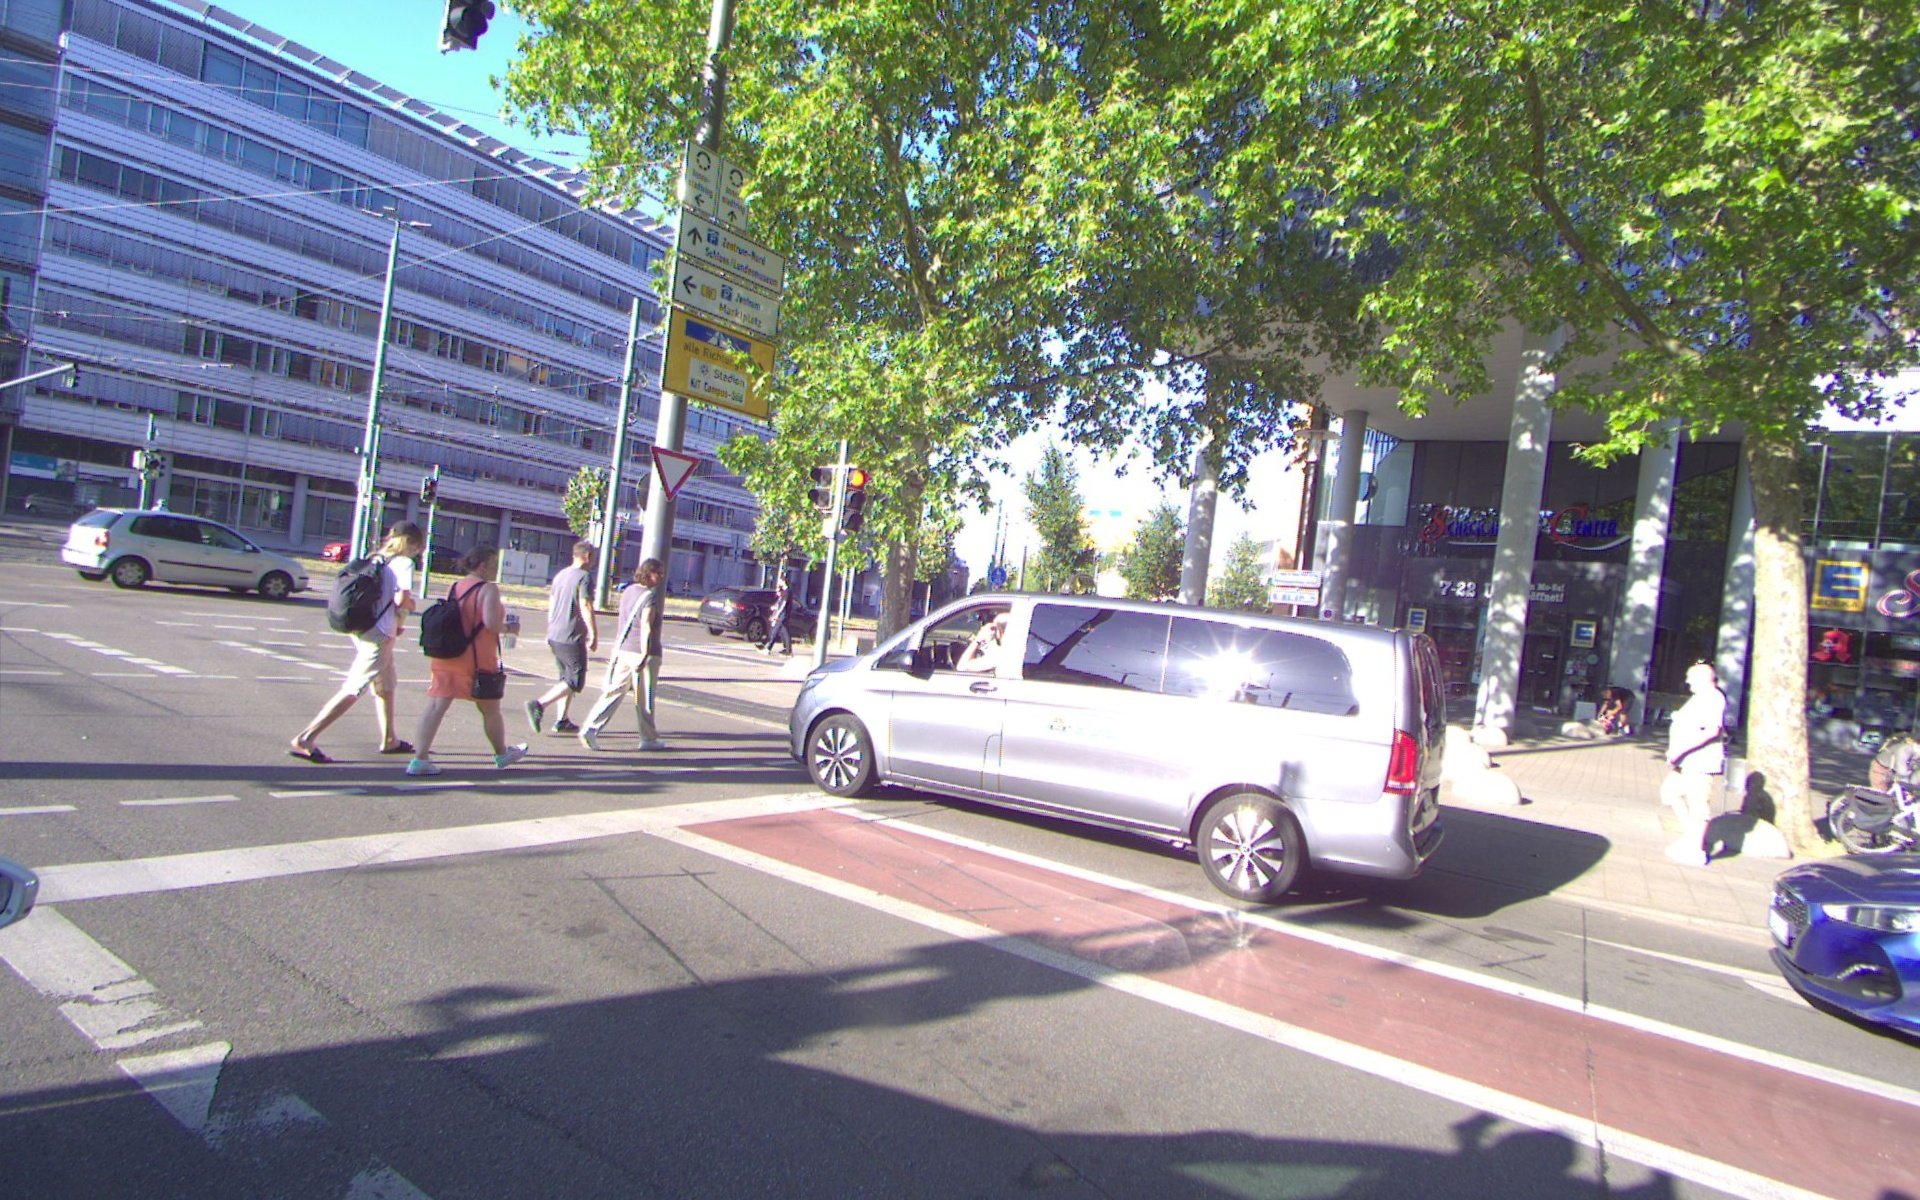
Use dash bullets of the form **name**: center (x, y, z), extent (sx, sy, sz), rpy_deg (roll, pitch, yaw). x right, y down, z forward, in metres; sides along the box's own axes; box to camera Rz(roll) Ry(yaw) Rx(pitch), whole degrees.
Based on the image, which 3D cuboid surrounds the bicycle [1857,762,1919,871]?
- **bicycle**: center (10.475, 2.354, 10.466), extent (1.545, 1.038, 0.461), rpy_deg (7, 1, 29)

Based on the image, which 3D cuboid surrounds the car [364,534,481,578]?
- **car**: center (-24.254, -1.950, 45.504), extent (1.768, 1.409, 4.241), rpy_deg (7, 0, 36)

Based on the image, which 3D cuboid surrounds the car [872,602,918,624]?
- **car**: center (-5.469, 1.142, 85.596), extent (1.731, 1.415, 3.990), rpy_deg (7, 0, 33)

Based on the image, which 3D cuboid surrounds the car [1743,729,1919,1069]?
- **car**: center (6.473, 1.718, 4.682), extent (4.147, 1.482, 1.767), rpy_deg (7, 0, 32)

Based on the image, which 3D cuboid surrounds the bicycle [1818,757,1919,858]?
- **bicycle**: center (11.530, 2.581, 12.417), extent (0.393, 1.038, 1.305), rpy_deg (6, 1, -42)

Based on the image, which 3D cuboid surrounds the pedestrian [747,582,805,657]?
- **pedestrian**: center (-4.495, 0.481, 24.611), extent (0.855, 1.701, 0.845), rpy_deg (7, -1, 39)

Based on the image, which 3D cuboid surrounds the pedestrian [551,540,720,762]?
- **pedestrian**: center (-2.924, 0.456, 9.147), extent (0.744, 1.828, 1.074), rpy_deg (7, 0, 25)

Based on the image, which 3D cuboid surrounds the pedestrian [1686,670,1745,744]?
- **pedestrian**: center (20.627, 2.911, 27.467), extent (0.990, 1.867, 0.844), rpy_deg (6, 1, -33)

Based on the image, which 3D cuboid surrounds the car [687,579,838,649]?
- **car**: center (-5.724, 0.456, 29.778), extent (1.794, 1.602, 4.491), rpy_deg (7, -1, 29)

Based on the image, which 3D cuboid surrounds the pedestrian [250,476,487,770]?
- **pedestrian**: center (-4.206, 0.172, 7.223), extent (0.725, 1.894, 1.076), rpy_deg (7, 0, 25)

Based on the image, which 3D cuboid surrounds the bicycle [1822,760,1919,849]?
- **bicycle**: center (12.500, 2.717, 12.790), extent (0.661, 0.945, 2.167), rpy_deg (7, 0, -30)

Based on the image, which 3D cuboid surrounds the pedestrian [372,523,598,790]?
- **pedestrian**: center (-3.364, 0.395, 7.207), extent (0.744, 1.702, 1.075), rpy_deg (7, 0, 25)

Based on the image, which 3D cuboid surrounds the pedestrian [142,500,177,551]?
- **pedestrian**: center (-28.632, -2.663, 35.996), extent (0.549, 1.701, 0.719), rpy_deg (7, -1, 39)

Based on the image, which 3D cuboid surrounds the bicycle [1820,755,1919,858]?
- **bicycle**: center (11.218, 2.491, 12.014), extent (0.393, 1.038, 1.305), rpy_deg (6, 1, -42)

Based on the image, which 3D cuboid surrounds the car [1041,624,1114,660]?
- **car**: center (6.116, 2.191, 52.202), extent (1.969, 1.474, 3.954), rpy_deg (7, 0, 36)

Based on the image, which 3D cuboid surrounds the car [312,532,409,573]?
- **car**: center (-28.997, -2.289, 48.717), extent (1.769, 1.484, 3.594), rpy_deg (7, 0, 39)

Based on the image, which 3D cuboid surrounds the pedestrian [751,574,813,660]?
- **pedestrian**: center (-4.136, 0.390, 23.365), extent (0.855, 1.841, 0.845), rpy_deg (7, -1, 39)

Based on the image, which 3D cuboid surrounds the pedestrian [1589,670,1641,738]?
- **pedestrian**: center (17.481, 2.753, 26.865), extent (0.952, 1.662, 0.864), rpy_deg (7, 1, 32)

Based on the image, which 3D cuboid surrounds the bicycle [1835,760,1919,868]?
- **bicycle**: center (10.729, 2.422, 11.033), extent (1.545, 1.038, 0.461), rpy_deg (7, 1, 29)

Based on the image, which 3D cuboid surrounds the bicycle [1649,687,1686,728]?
- **bicycle**: center (21.764, 3.305, 30.918), extent (0.709, 1.142, 1.912), rpy_deg (7, 0, 39)

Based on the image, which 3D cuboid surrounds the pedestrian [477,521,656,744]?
- **pedestrian**: center (-3.697, 0.312, 9.537), extent (0.818, 1.917, 1.148), rpy_deg (7, 0, 25)

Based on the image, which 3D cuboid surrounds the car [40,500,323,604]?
- **car**: center (-15.089, -0.878, 19.723), extent (1.794, 1.451, 3.916), rpy_deg (7, -1, 29)

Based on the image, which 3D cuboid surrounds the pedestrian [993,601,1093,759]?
- **pedestrian**: center (1.009, 0.954, 11.987), extent (0.617, 1.735, 1.076), rpy_deg (7, -1, 28)

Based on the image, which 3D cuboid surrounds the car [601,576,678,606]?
- **car**: center (-19.523, -0.533, 61.459), extent (1.947, 1.364, 3.984), rpy_deg (7, 0, 39)

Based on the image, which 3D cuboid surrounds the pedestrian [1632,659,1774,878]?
- **pedestrian**: center (6.829, 1.501, 9.299), extent (0.795, 1.808, 0.873), rpy_deg (7, 1, 31)

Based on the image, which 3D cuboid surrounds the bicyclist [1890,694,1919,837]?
- **bicyclist**: center (12.590, 2.153, 12.754), extent (0.744, 1.790, 0.845), rpy_deg (6, 1, -31)

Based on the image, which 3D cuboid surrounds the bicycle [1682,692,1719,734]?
- **bicycle**: center (22.410, 3.401, 30.444), extent (0.709, 1.142, 1.912), rpy_deg (7, 0, 39)

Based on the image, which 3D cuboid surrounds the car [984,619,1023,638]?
- **car**: center (4.139, 2.720, 95.566), extent (1.731, 1.415, 3.990), rpy_deg (7, 0, 33)

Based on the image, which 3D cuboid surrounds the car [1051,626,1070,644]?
- **car**: center (10.398, 3.586, 104.490), extent (1.726, 1.631, 4.002), rpy_deg (7, 0, 6)

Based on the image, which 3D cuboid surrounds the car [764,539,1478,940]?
- **car**: center (1.107, 0.822, 8.003), extent (5.053, 1.988, 1.997), rpy_deg (7, -2, 32)
